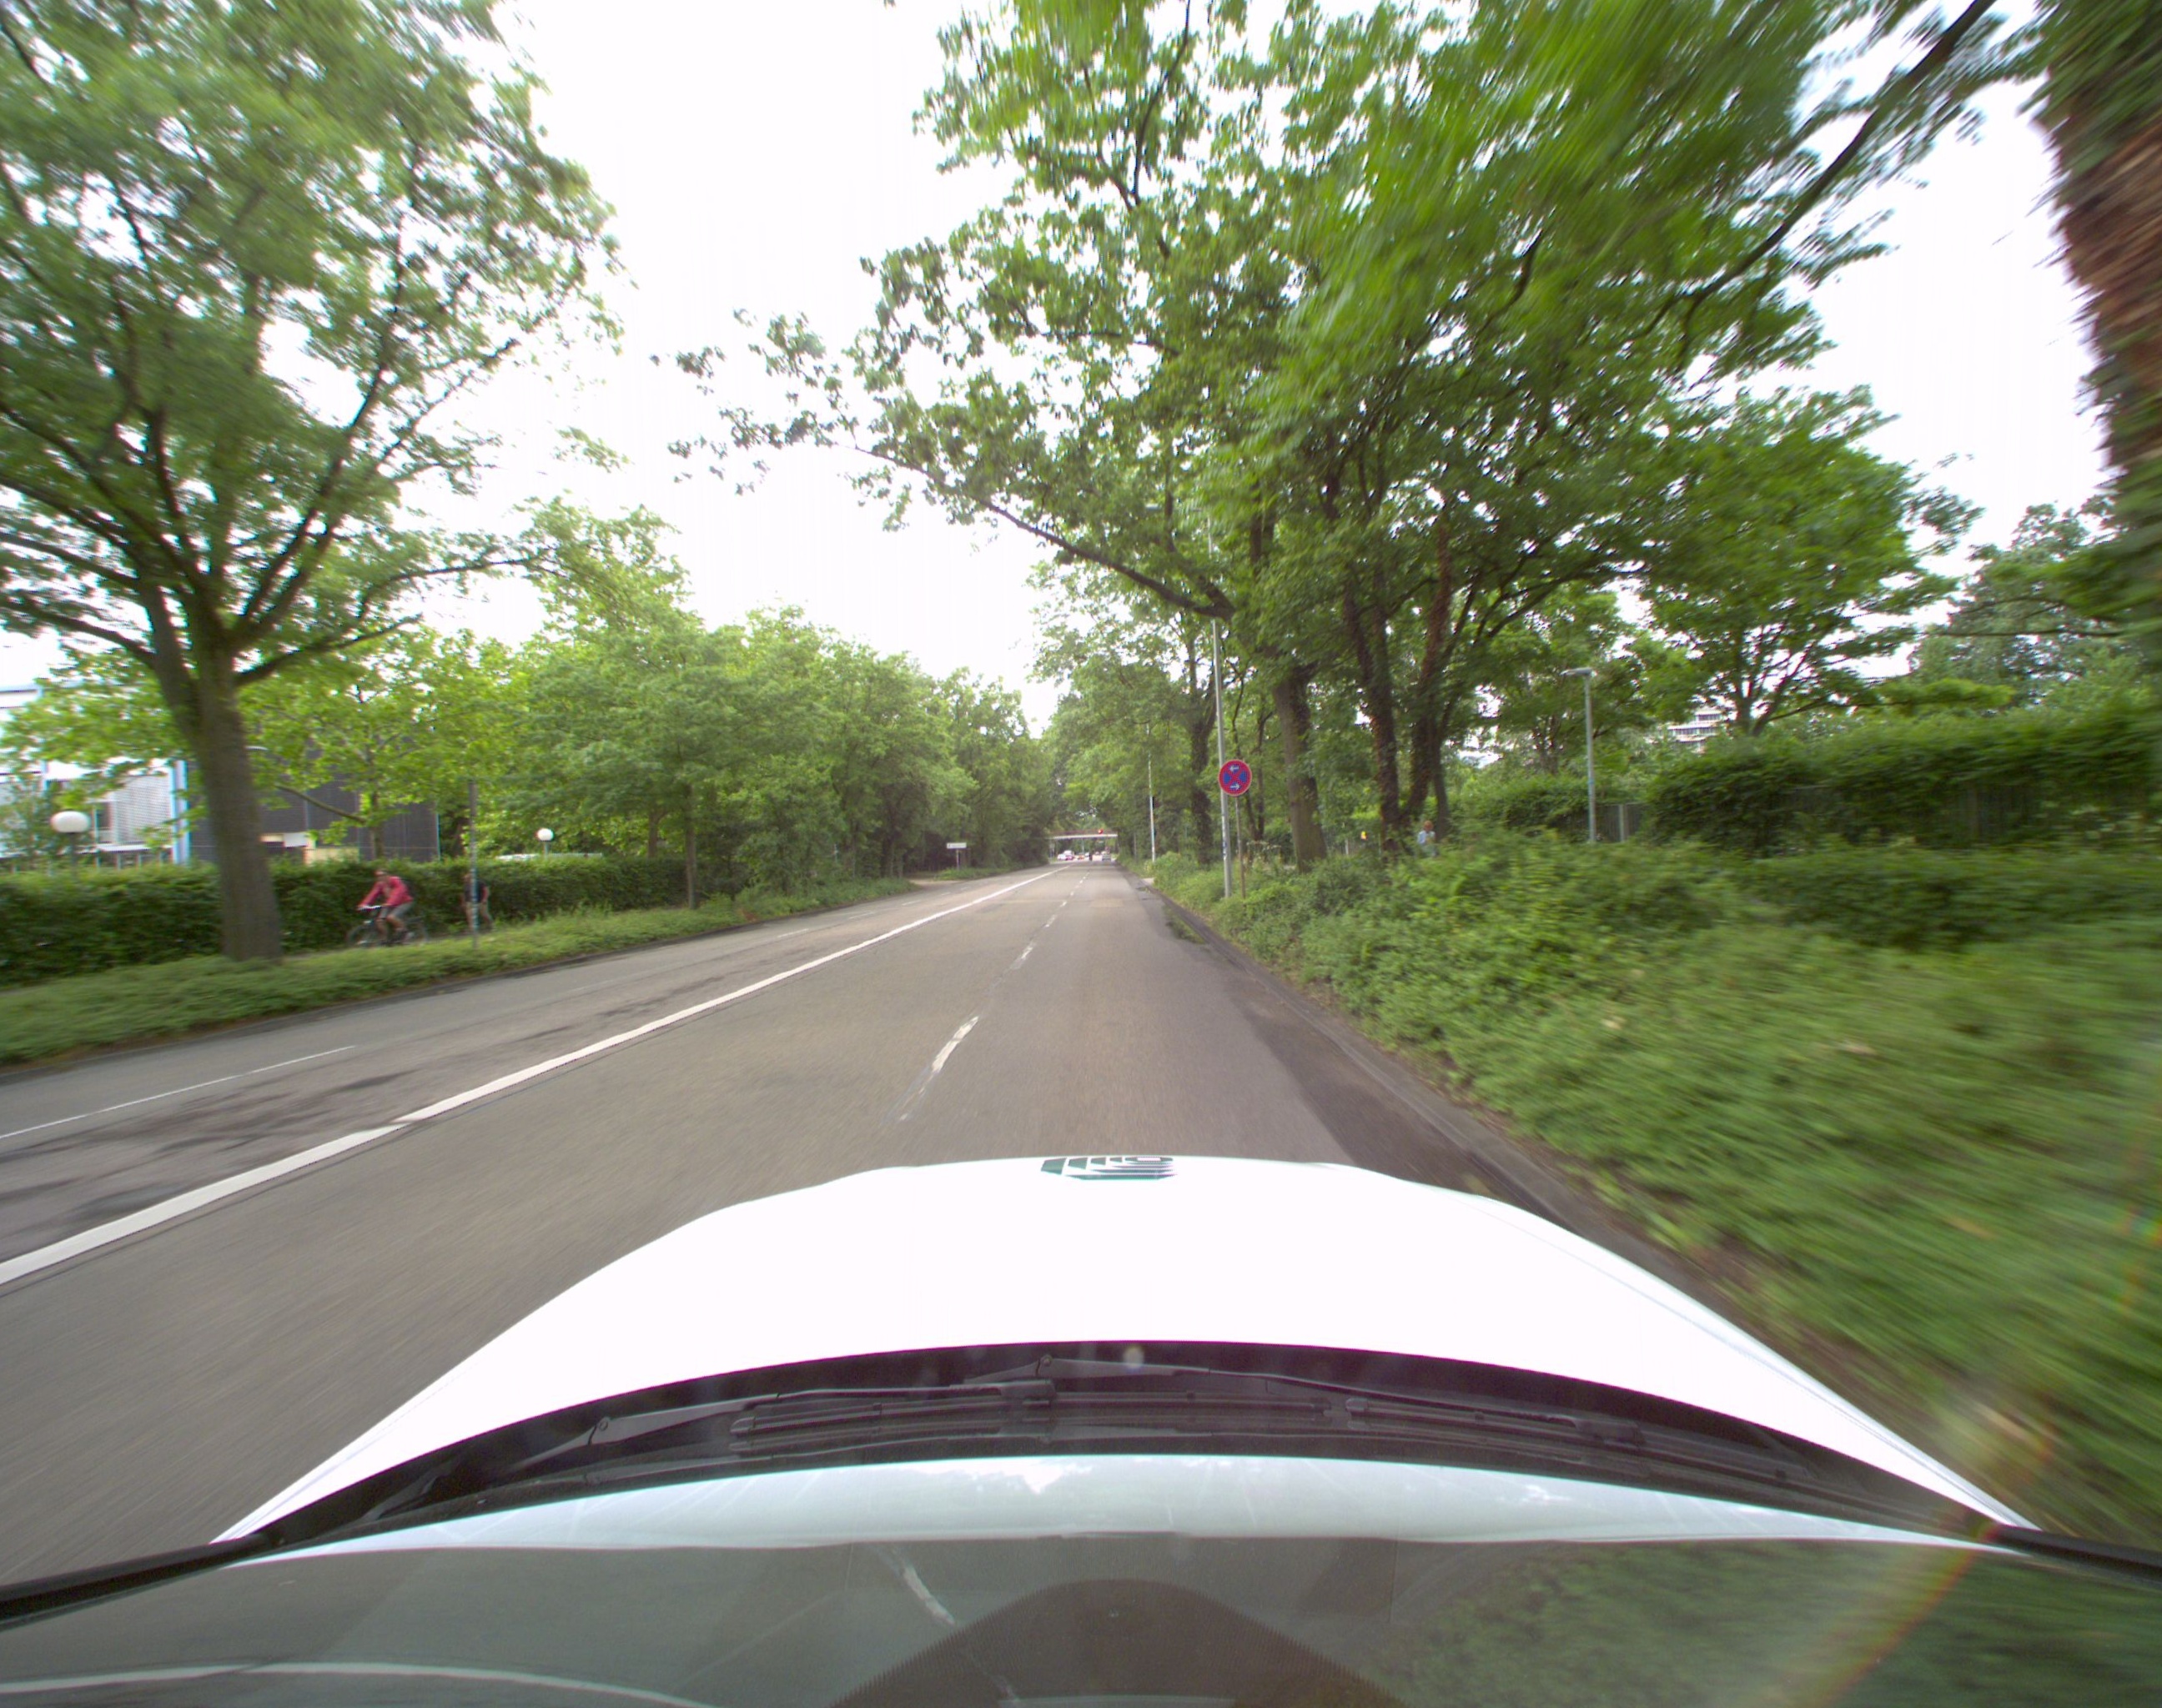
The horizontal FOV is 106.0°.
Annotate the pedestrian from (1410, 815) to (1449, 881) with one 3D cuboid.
[{"bbox_3d":[9.091,-0.151,21.267,0.570,1.651,0.820,-4,0,1],"label":"pedestrian"}]

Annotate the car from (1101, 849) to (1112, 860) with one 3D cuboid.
[{"bbox_3d":[4.699,0.111,150.137,1.836,2.013,4.001,-2,0,1],"label":"car"}]

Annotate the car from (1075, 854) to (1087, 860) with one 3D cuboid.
[{"bbox_3d":[-0.019,0.694,197.343,1.662,1.362,3.938,-1,0,16],"label":"car"}]

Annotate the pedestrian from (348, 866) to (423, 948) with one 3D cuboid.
[{"bbox_3d":[-14.441,1.083,16.927,0.789,1.613,0.848,-1,0,1],"label":"pedestrian"}]

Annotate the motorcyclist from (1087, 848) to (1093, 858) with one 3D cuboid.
[{"bbox_3d":[1.713,-0.202,153.614,1.059,2.013,0.843,-1,0,1],"label":"motorcyclist"}]

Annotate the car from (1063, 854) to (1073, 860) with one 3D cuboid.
[{"bbox_3d":[-3.199,0.794,196.981,1.984,1.354,3.899,-2,0,4],"label":"car"}]

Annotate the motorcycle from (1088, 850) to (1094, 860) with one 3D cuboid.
[{"bbox_3d":[1.838,0.156,153.816,0.986,1.936,2.670,-1,0,2],"label":"motorcycle"}]
